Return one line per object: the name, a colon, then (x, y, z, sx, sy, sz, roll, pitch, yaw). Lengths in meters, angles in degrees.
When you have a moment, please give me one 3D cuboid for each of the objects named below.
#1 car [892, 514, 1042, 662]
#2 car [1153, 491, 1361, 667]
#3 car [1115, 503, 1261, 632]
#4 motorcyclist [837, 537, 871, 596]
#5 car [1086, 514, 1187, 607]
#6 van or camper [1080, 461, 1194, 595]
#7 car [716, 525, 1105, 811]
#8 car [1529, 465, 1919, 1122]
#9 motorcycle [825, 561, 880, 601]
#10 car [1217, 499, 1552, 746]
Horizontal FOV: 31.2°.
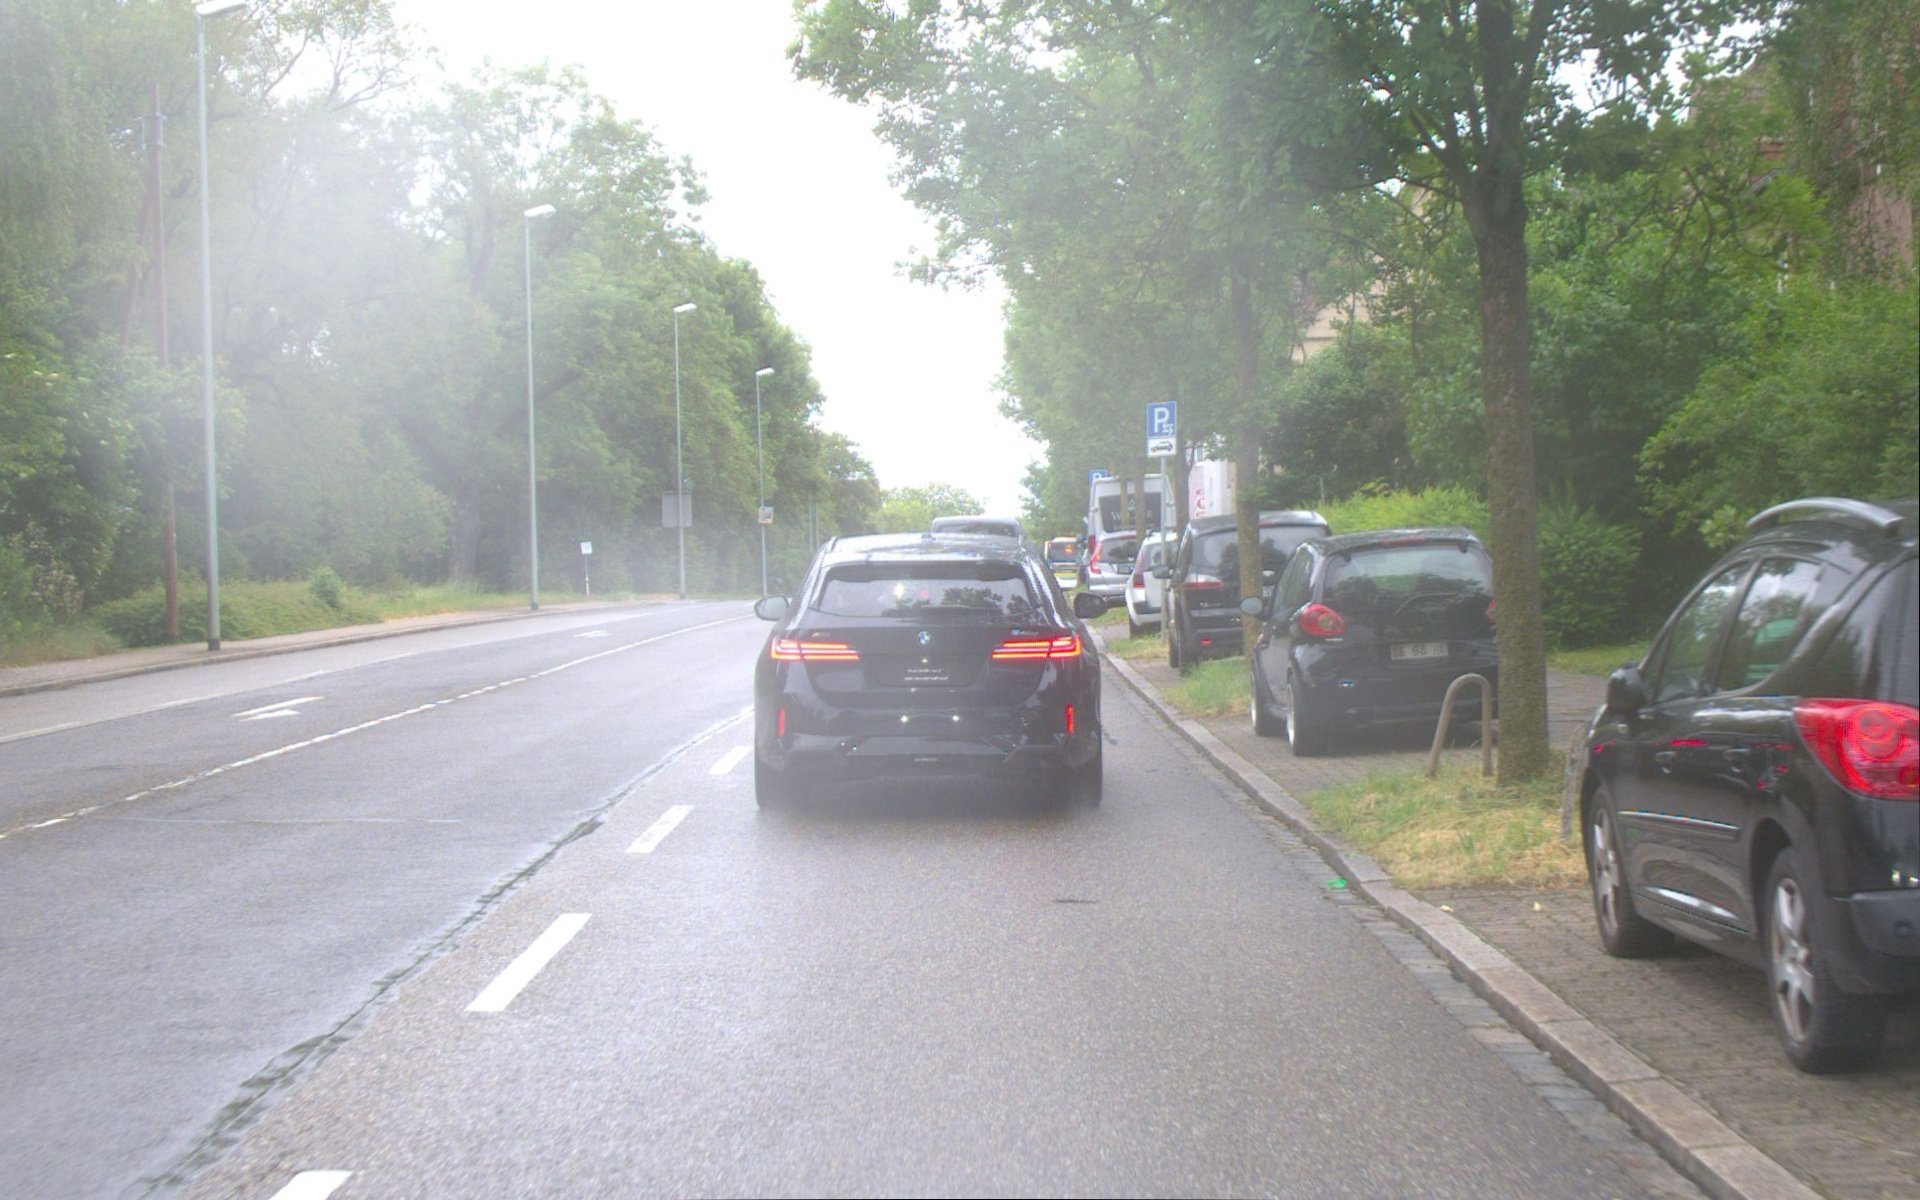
car: (0.141, -0.177, 49.586, 1.993, 2.007, 4.000, -1, 0, 2)
car: (3.113, -0.264, 36.868, 1.824, 1.672, 4.584, -3, 1, 1)
car: (3.175, -0.481, 47.505, 1.824, 1.597, 4.473, -3, 1, 5)
motorcyclist: (-3.055, -0.962, 98.949, 0.810, 1.675, 0.651, -1, 1, -24)
car: (3.239, -0.732, 62.586, 1.669, 1.523, 3.831, -4, 1, 4)
van or camper: (3.772, -1.570, 74.399, 2.198, 2.642, 7.301, -3, 1, 2)
car: (-0.267, 0.336, 19.844, 1.993, 1.448, 4.000, 1, 0, 0)
car: (2.952, 0.390, 10.415, 1.641, 1.589, 4.014, -3, 2, -1)
motorcycle: (-3.101, -0.540, 98.993, 0.821, 1.114, 2.190, -1, 1, -24)
car: (2.871, 0.096, 23.984, 1.722, 1.507, 3.786, -3, 2, -1)
